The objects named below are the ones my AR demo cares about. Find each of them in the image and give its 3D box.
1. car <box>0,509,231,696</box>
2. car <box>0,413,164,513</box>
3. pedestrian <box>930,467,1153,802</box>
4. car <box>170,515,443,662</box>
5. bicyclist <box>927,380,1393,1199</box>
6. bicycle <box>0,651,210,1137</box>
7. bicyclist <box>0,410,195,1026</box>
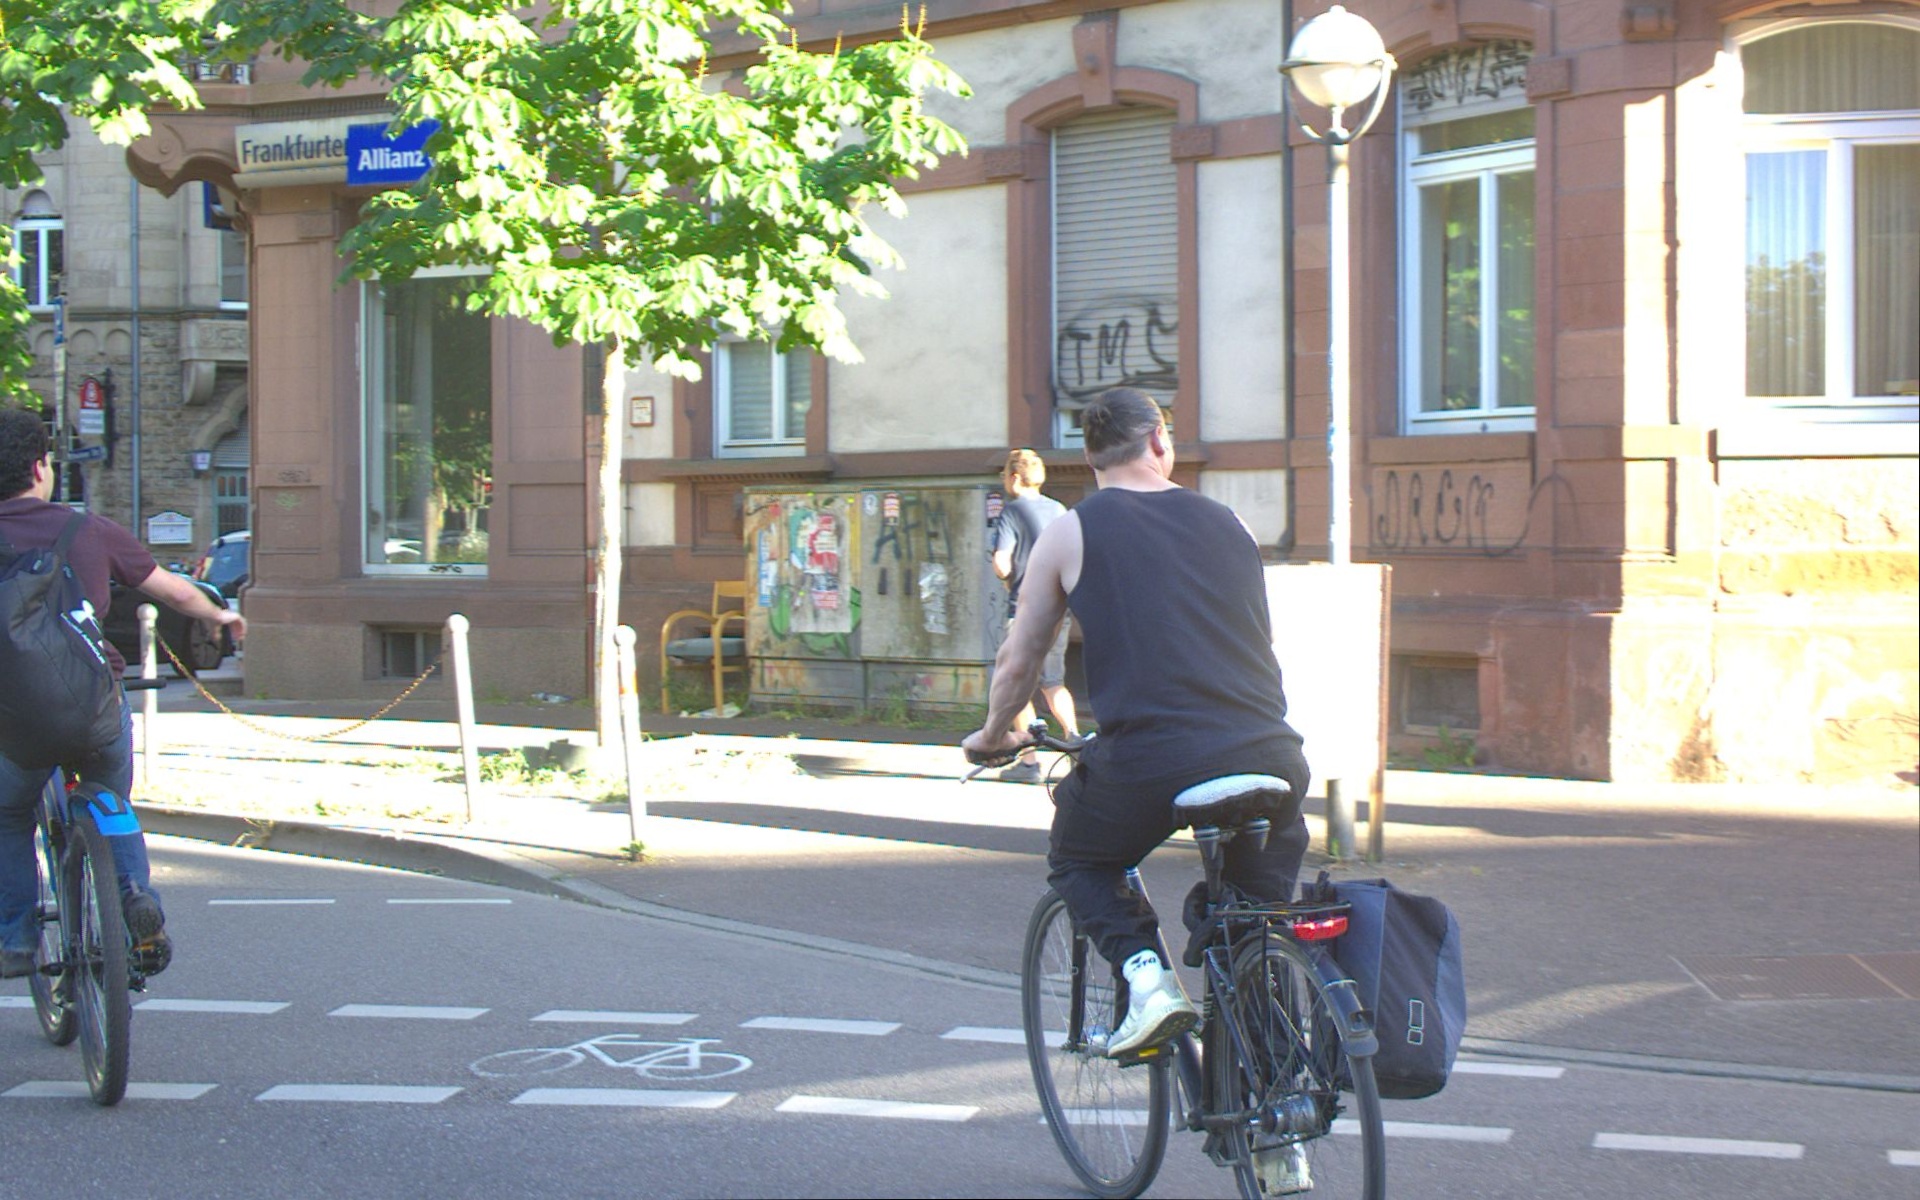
[{"bbox_3d":[-8.601,-0.020,31.304,1.793,1.605,4.365,1,1,20],"label":"car"},{"bbox_3d":[-15.701,-2.311,58.100,3.991,1.641,1.877,1,2,19],"label":"car"},{"bbox_3d":[0.409,0.148,17.484,0.723,1.629,0.905,-2,4,-36],"label":"pedestrian"},{"bbox_3d":[-6.809,-0.160,36.095,1.502,1.452,3.205,1,2,17],"label":"car"},{"bbox_3d":[0.381,0.406,7.022,0.686,1.650,0.990,-1,0,-13],"label":"bicyclist"},{"bbox_3d":[-2.470,0.732,9.334,0.717,1.103,1.967,0,1,-9],"label":"bicycle"},{"bbox_3d":[-2.457,0.289,9.229,0.706,1.568,0.957,0,1,-8],"label":"bicyclist"}]
